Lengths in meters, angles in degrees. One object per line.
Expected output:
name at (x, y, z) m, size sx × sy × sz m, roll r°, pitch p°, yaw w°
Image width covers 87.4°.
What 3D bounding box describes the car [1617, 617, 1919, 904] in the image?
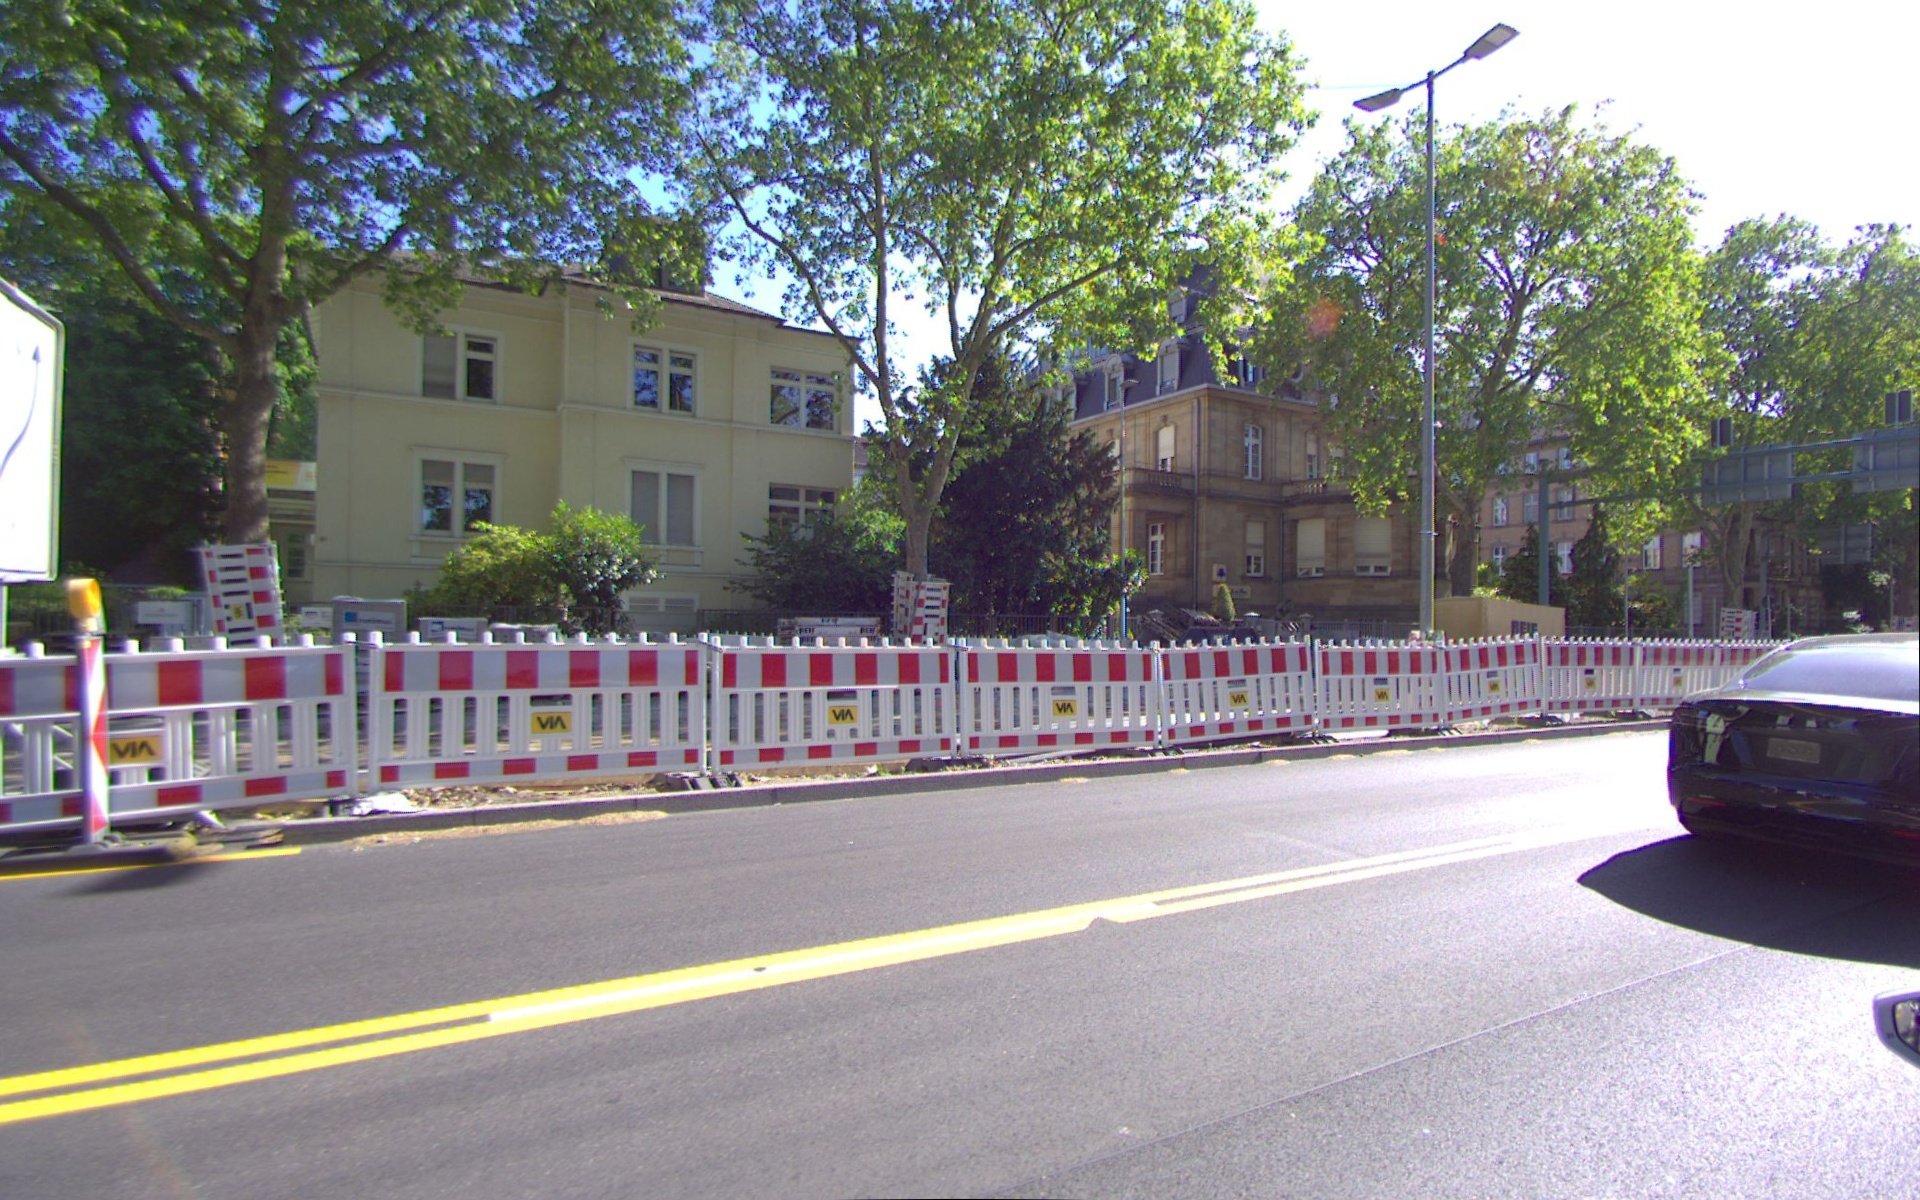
car at (6.685, 0.883, 6.786) m, size 4.571 × 1.431 × 1.916 m, roll 1°, pitch 1°, yaw -30°
